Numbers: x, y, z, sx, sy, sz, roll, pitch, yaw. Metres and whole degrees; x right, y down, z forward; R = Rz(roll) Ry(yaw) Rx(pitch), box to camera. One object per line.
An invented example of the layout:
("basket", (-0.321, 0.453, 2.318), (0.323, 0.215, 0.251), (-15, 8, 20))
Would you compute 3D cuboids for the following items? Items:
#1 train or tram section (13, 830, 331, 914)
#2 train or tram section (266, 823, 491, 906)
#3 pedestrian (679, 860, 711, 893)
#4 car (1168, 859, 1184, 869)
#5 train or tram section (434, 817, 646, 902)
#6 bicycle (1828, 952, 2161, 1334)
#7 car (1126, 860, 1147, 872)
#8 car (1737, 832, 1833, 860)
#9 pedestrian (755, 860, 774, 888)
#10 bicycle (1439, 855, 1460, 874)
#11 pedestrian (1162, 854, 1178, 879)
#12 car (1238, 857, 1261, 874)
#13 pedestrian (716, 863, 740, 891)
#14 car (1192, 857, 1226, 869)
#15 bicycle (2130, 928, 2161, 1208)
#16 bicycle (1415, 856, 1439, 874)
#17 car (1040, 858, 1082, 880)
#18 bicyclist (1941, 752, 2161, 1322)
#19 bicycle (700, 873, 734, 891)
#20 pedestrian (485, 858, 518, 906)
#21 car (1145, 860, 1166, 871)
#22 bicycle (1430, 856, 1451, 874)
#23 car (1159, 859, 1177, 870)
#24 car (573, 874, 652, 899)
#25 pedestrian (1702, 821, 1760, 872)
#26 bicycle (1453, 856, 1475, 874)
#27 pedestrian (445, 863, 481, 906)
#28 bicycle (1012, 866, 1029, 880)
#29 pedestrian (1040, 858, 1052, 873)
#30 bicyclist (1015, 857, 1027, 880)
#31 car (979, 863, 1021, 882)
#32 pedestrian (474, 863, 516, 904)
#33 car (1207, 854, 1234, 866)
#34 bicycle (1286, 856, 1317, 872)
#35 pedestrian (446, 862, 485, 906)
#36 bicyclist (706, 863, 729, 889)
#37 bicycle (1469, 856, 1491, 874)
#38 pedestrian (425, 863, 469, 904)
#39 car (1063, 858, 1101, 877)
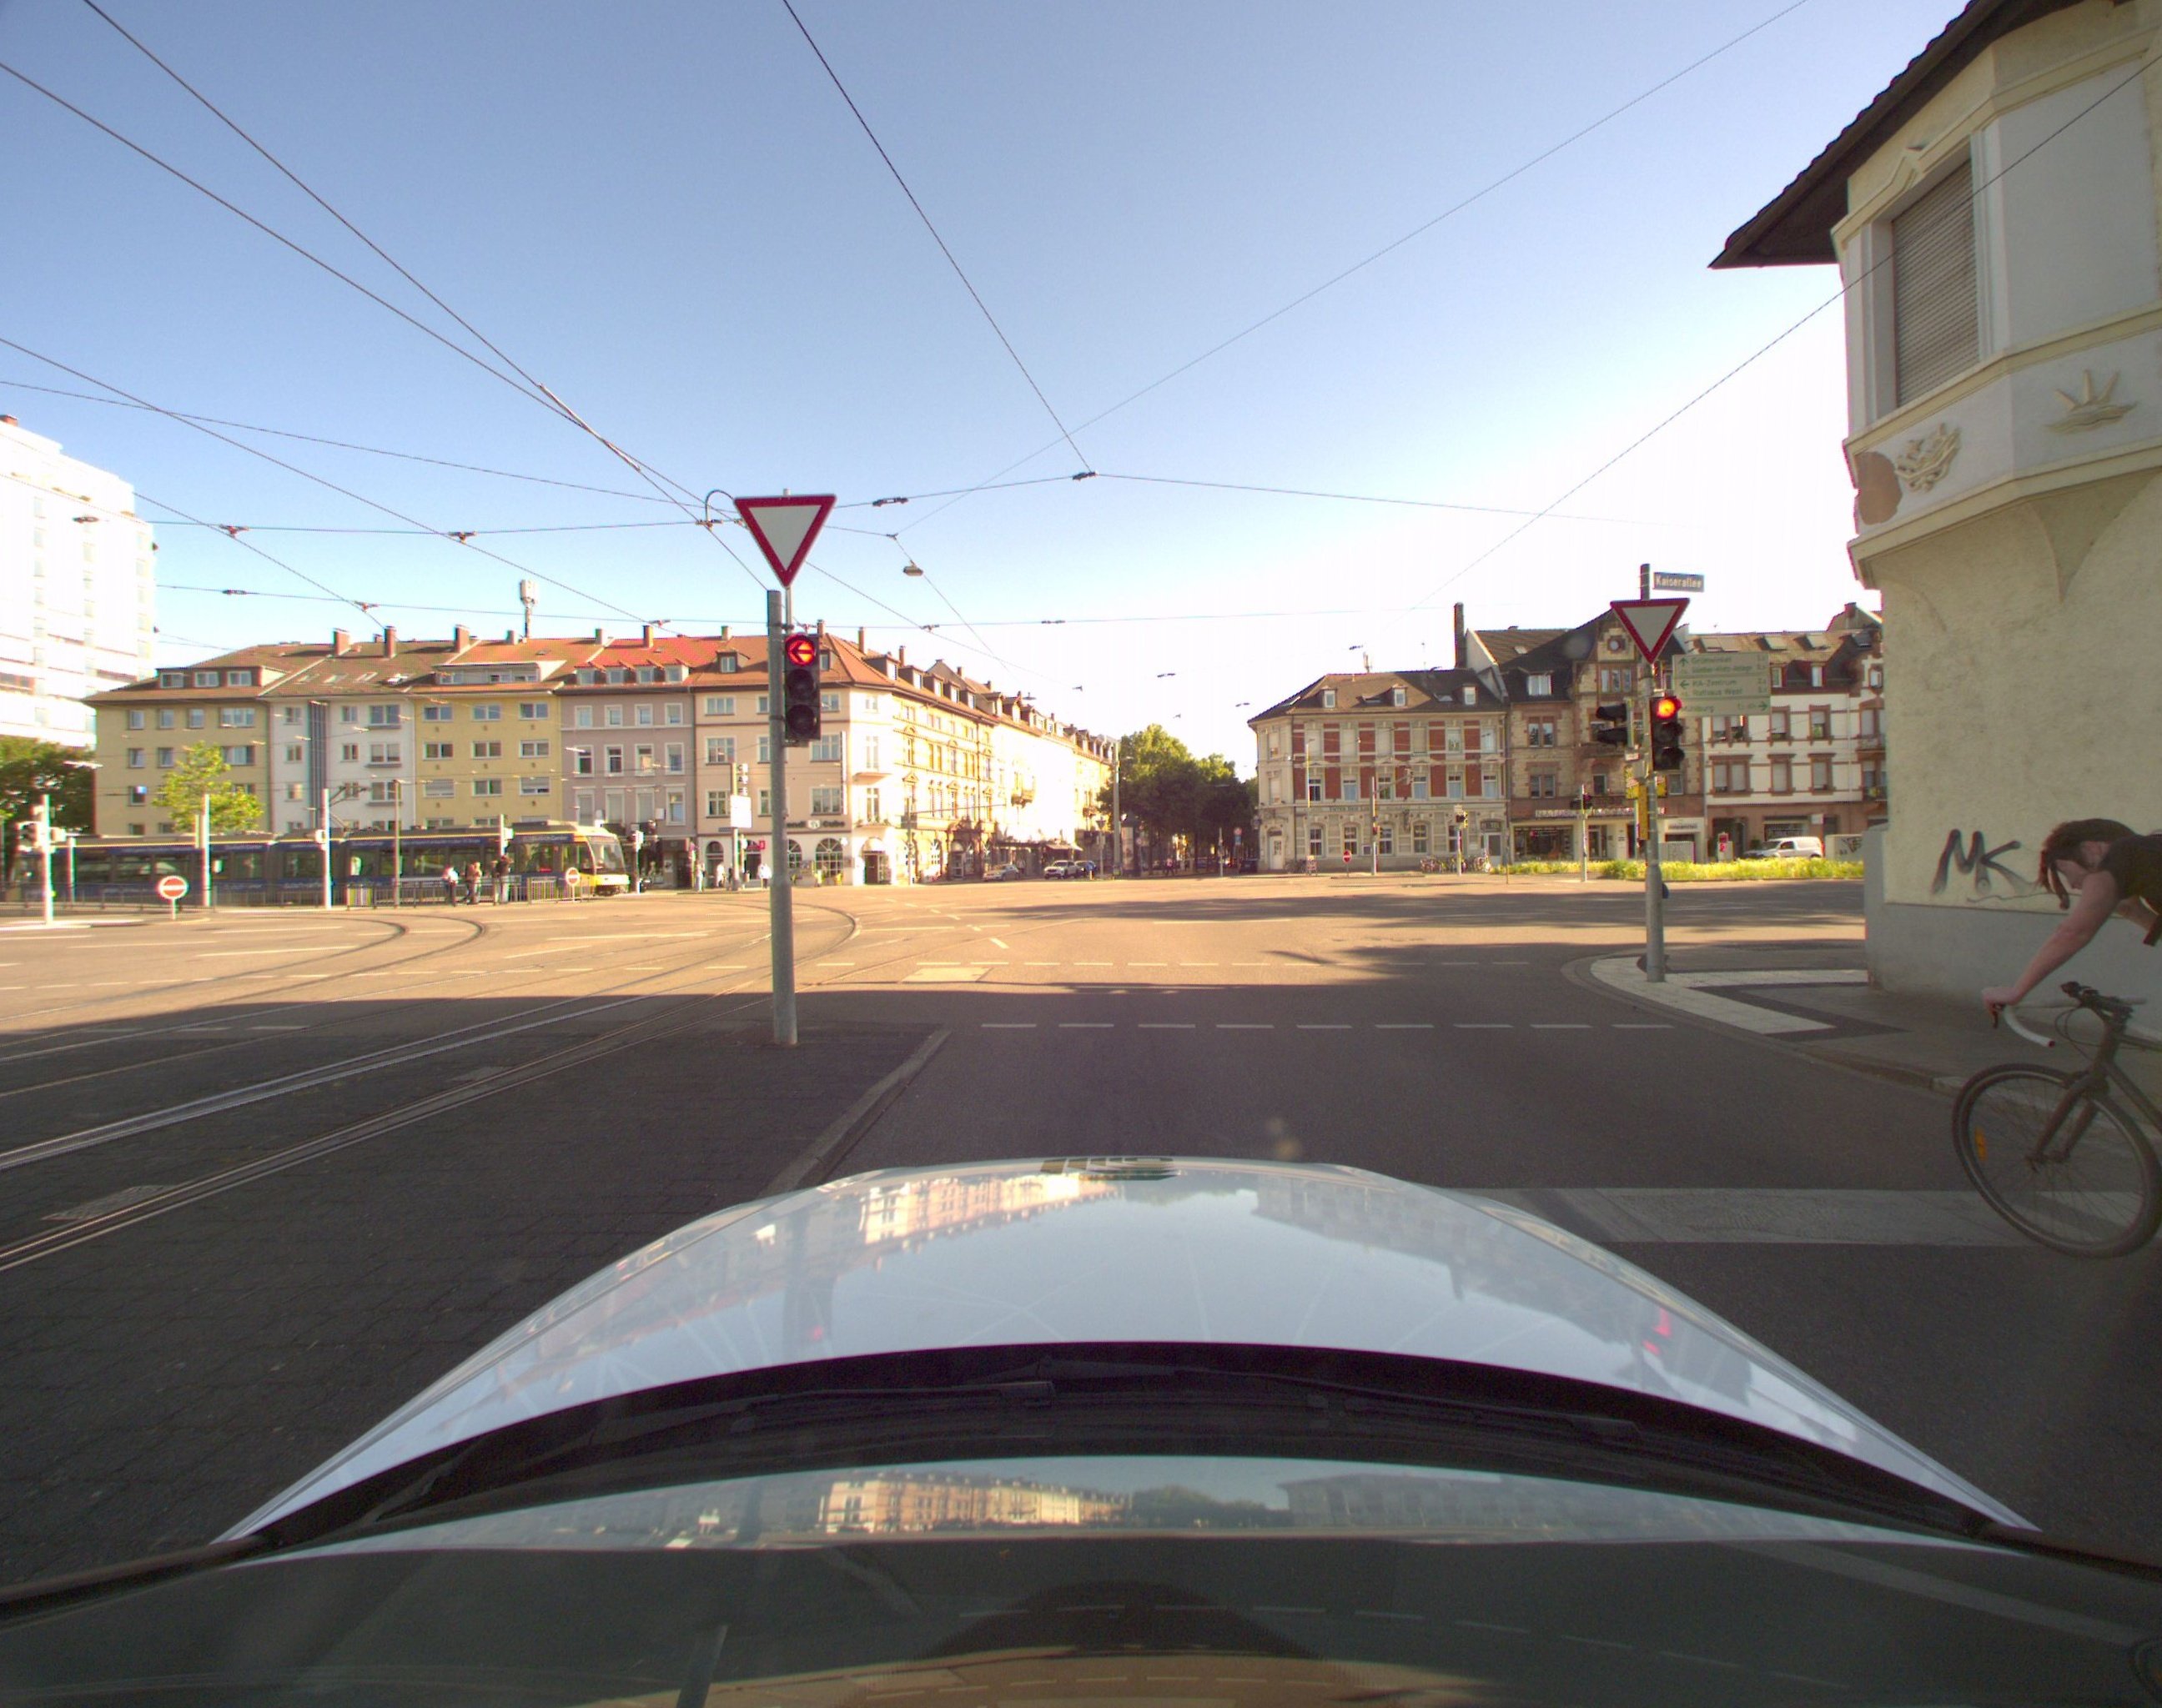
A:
("train or tram section", (-42.216, 0.809, 38.044), (11.943, 3.500, 2.781), (-1, 0, 2))
("train or tram section", (-32.085, 0.486, 37.343), (8.388, 3.500, 2.830), (-1, 0, 7))
("pedestrian", (-20.131, 1.153, 42.454), (1.076, 1.685, 1.104), (-2, 0, 1))
("car", (15.837, 1.723, 136.154), (1.750, 1.549, 4.411), (-2, 0, 18))
("train or tram section", (-24.063, 0.256, 36.389), (7.892, 3.500, 2.830), (-1, 0, 7))
("bicycle", (3.608, 0.947, 2.658), (0.642, 1.010, 1.930), (-2, 0, 4))
("car", (7.538, 1.670, 110.969), (1.978, 1.486, 4.017), (-1, 0, 16))
("car", (45.357, -0.481, 52.539), (4.317, 1.640, 2.152), (-2, 0, 1))
("pedestrian", (-20.579, 1.293, 52.926), (1.013, 1.775, 0.932), (-1, 0, -31))
("bicycle", (23.856, 0.672, 52.771), (0.615, 1.143, 2.178), (-2, 0, 7))
("pedestrian", (6.328, 0.858, 57.981), (1.040, 1.744, 0.810), (-1, 0, 8))
("car", (17.017, 1.141, 82.203), (1.978, 1.585, 4.017), (-2, 0, 16))
("pedestrian", (-23.005, 1.505, 53.093), (0.998, 1.775, 0.945), (-2, 0, 16))
("car", (18.061, 1.310, 115.154), (4.335, 1.612, 2.012), (-2, 0, 28))
("bicycle", (4.528, 0.857, 2.433), (0.516, 1.116, 1.815), (-2, 0, 4))
("bicycle", (22.499, 0.701, 52.973), (0.802, 1.143, 2.178), (-2, 0, 7))
("car", (-1.608, 1.252, 67.527), (1.977, 1.684, 4.413), (-2, 0, 20))
("bicyclist", (3.593, 0.560, 2.581), (0.559, 1.754, 1.102), (-2, 0, 4))
("bicycle", (-25.380, 1.921, 56.807), (2.083, 1.181, 0.631), (-1, 0, 1))
("pedestrian", (-22.187, 1.041, 31.167), (0.946, 1.775, 0.998), (-1, -1, -39))
("car", (11.260, 1.733, 122.588), (1.977, 1.612, 4.413), (-2, 0, 20))
("bicycle", (23.277, 0.692, 52.824), (0.615, 1.143, 2.178), (-2, 0, 7))
("car", (13.919, 1.703, 130.320), (1.822, 1.552, 4.412), (-2, 0, 19))
("car", (-30.621, 2.142, 53.327), (3.974, 1.453, 2.000), (-1, 0, -1))
("pedestrian", (27.110, -0.307, 33.986), (1.314, 2.044, 1.307), (-2, 0, 1))
("bicycle", (24.777, 0.710, 52.676), (0.615, 1.143, 2.178), (-2, 0, 7))
("pedestrian", (-23.983, 1.163, 31.612), (0.997, 1.598, 0.947), (-2, -1, 43))
("bicycle", (-4.817, 1.513, 65.284), (0.675, 1.066, 2.133), (-2, 0, 14))
("pedestrian", (-3.672, 1.215, 86.577), (0.921, 1.535, 1.142), (-1, 0, 16))
("bicyclist", (-4.813, 1.132, 65.328), (0.674, 1.820, 1.075), (-2, 0, 14))
("car", (-6.683, 1.523, 67.370), (1.883, 1.455, 4.020), (-2, 0, 20))
("pedestrian", (-23.243, 1.165, 32.295), (0.997, 1.598, 0.946), (-2, 0, 23))
("car", (22.837, 0.973, 133.289), (3.948, 1.706, 2.013), (-2, 0, 32))
("bicycle", (15.499, 0.723, 57.177), (2.081, 1.124, 0.366), (0, -1, -3))
("pedestrian", (-23.375, 1.118, 30.922), (0.996, 1.598, 0.947), (-2, -1, 39))
("bicyclist", (-25.350, 1.530, 56.795), (1.161, 1.775, 0.748), (-1, 0, 0))
("bicycle", (25.754, 0.689, 52.586), (0.606, 1.136, 2.139), (-2, 0, 7))
("pedestrian", (-25.307, 1.182, 32.506), (0.998, 1.598, 0.946), (-2, 0, 18))
("car", (0.118, 1.219, 74.004), (1.977, 1.612, 4.413), (-2, 0, 20))
